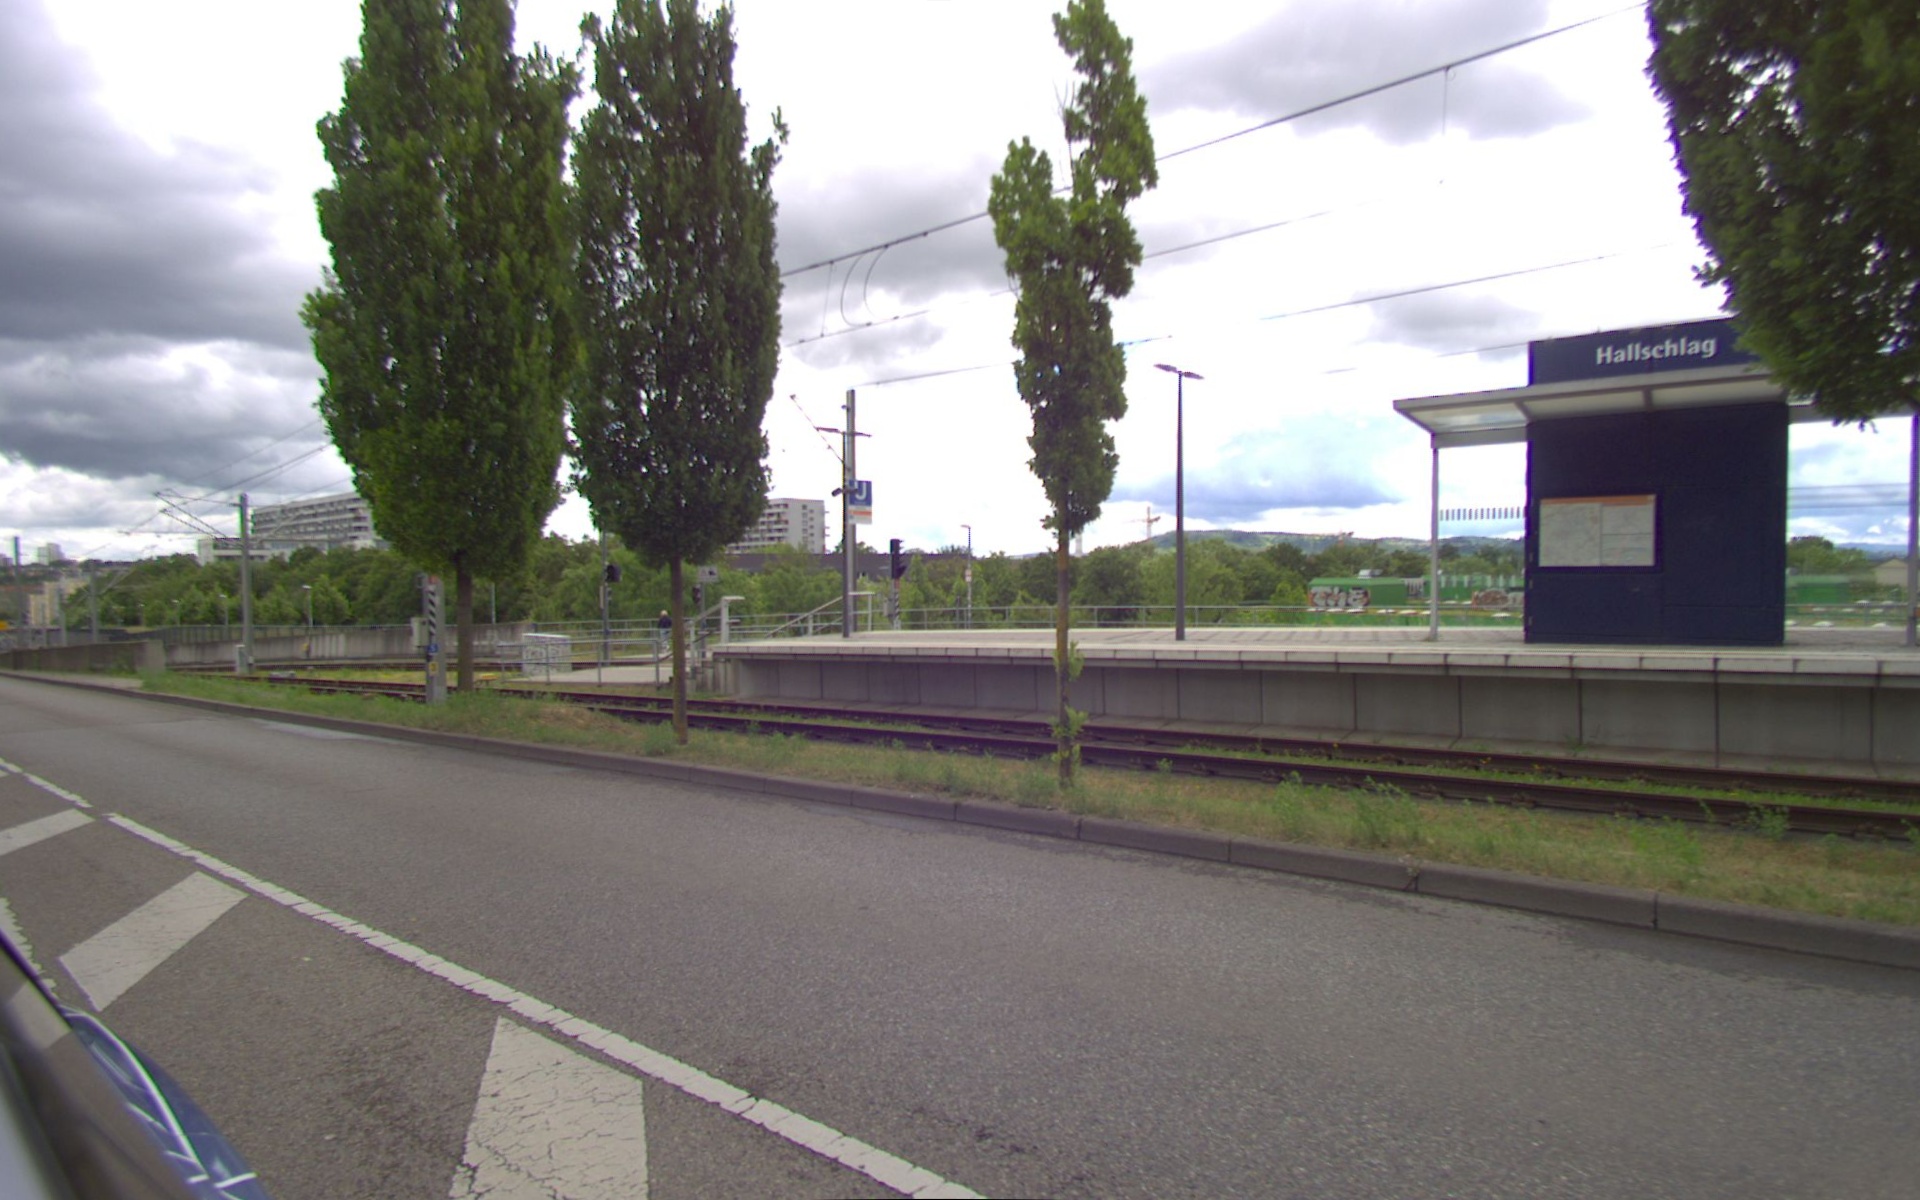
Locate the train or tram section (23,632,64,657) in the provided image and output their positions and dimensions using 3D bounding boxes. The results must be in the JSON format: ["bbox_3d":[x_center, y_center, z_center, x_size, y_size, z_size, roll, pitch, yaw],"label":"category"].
[{"bbox_3d":[-127.600,6.239,140.768,18.475,3.218,2.750,-3,-2,43],"label":"train or tram section"}]

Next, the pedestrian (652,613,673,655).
[{"bbox_3d":[-11.825,1.363,40.183,0.646,1.637,0.502,-3,-2,43],"label":"pedestrian"}]
